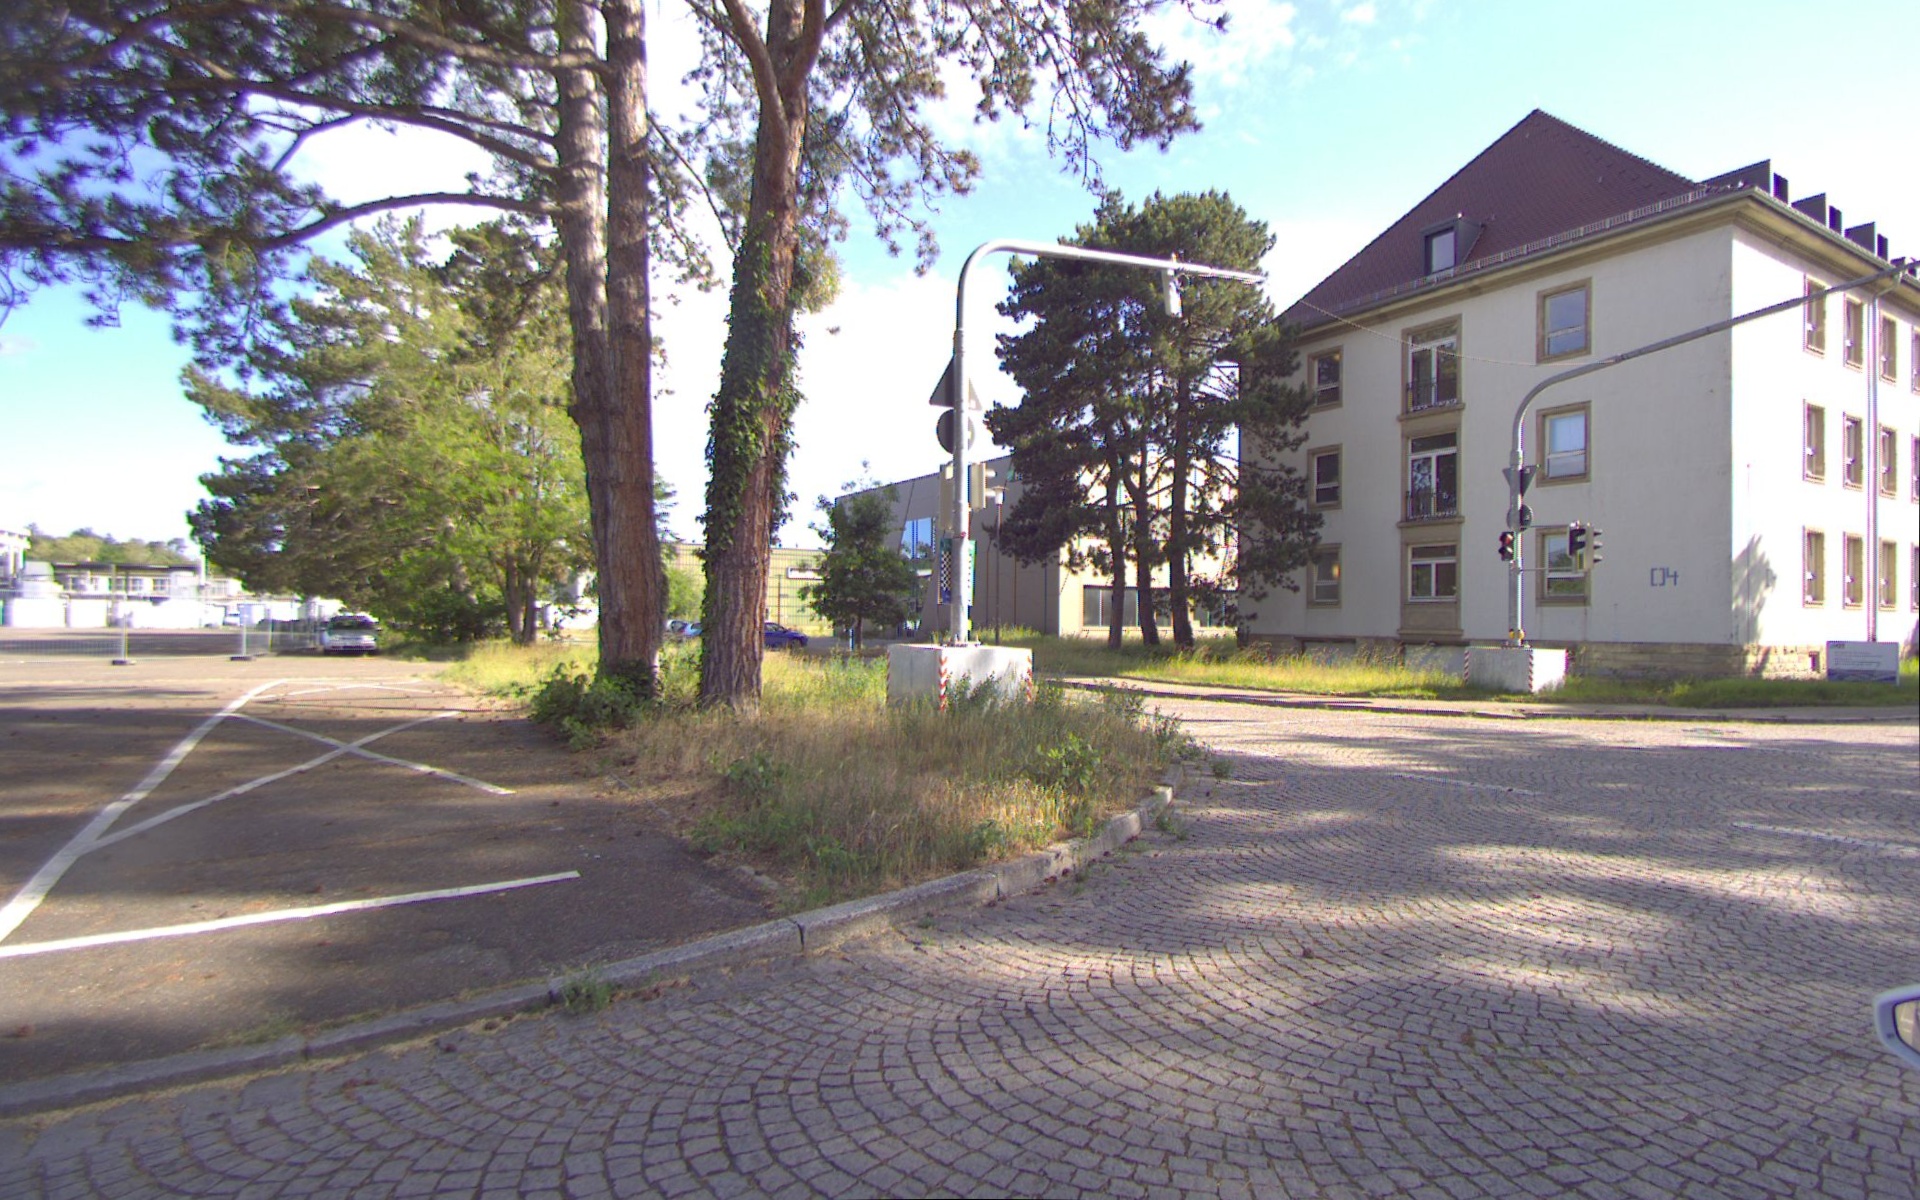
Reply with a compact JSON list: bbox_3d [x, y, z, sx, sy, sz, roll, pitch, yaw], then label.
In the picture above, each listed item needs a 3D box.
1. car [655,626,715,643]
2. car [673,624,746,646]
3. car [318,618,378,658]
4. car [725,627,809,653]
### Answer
[{"bbox_3d":[-18.025,2.234,65.853,3.634,1.090,1.399,1,-1,-29],"label":"car"},{"bbox_3d":[-14.801,2.068,59.358,3.951,1.221,1.481,1,-1,-29],"label":"car"},{"bbox_3d":[-22.603,1.369,37.220,1.726,1.388,3.595,1,-1,-29],"label":"car"},{"bbox_3d":[-9.871,2.035,51.463,4.002,1.311,1.480,1,-1,-30],"label":"car"}]
